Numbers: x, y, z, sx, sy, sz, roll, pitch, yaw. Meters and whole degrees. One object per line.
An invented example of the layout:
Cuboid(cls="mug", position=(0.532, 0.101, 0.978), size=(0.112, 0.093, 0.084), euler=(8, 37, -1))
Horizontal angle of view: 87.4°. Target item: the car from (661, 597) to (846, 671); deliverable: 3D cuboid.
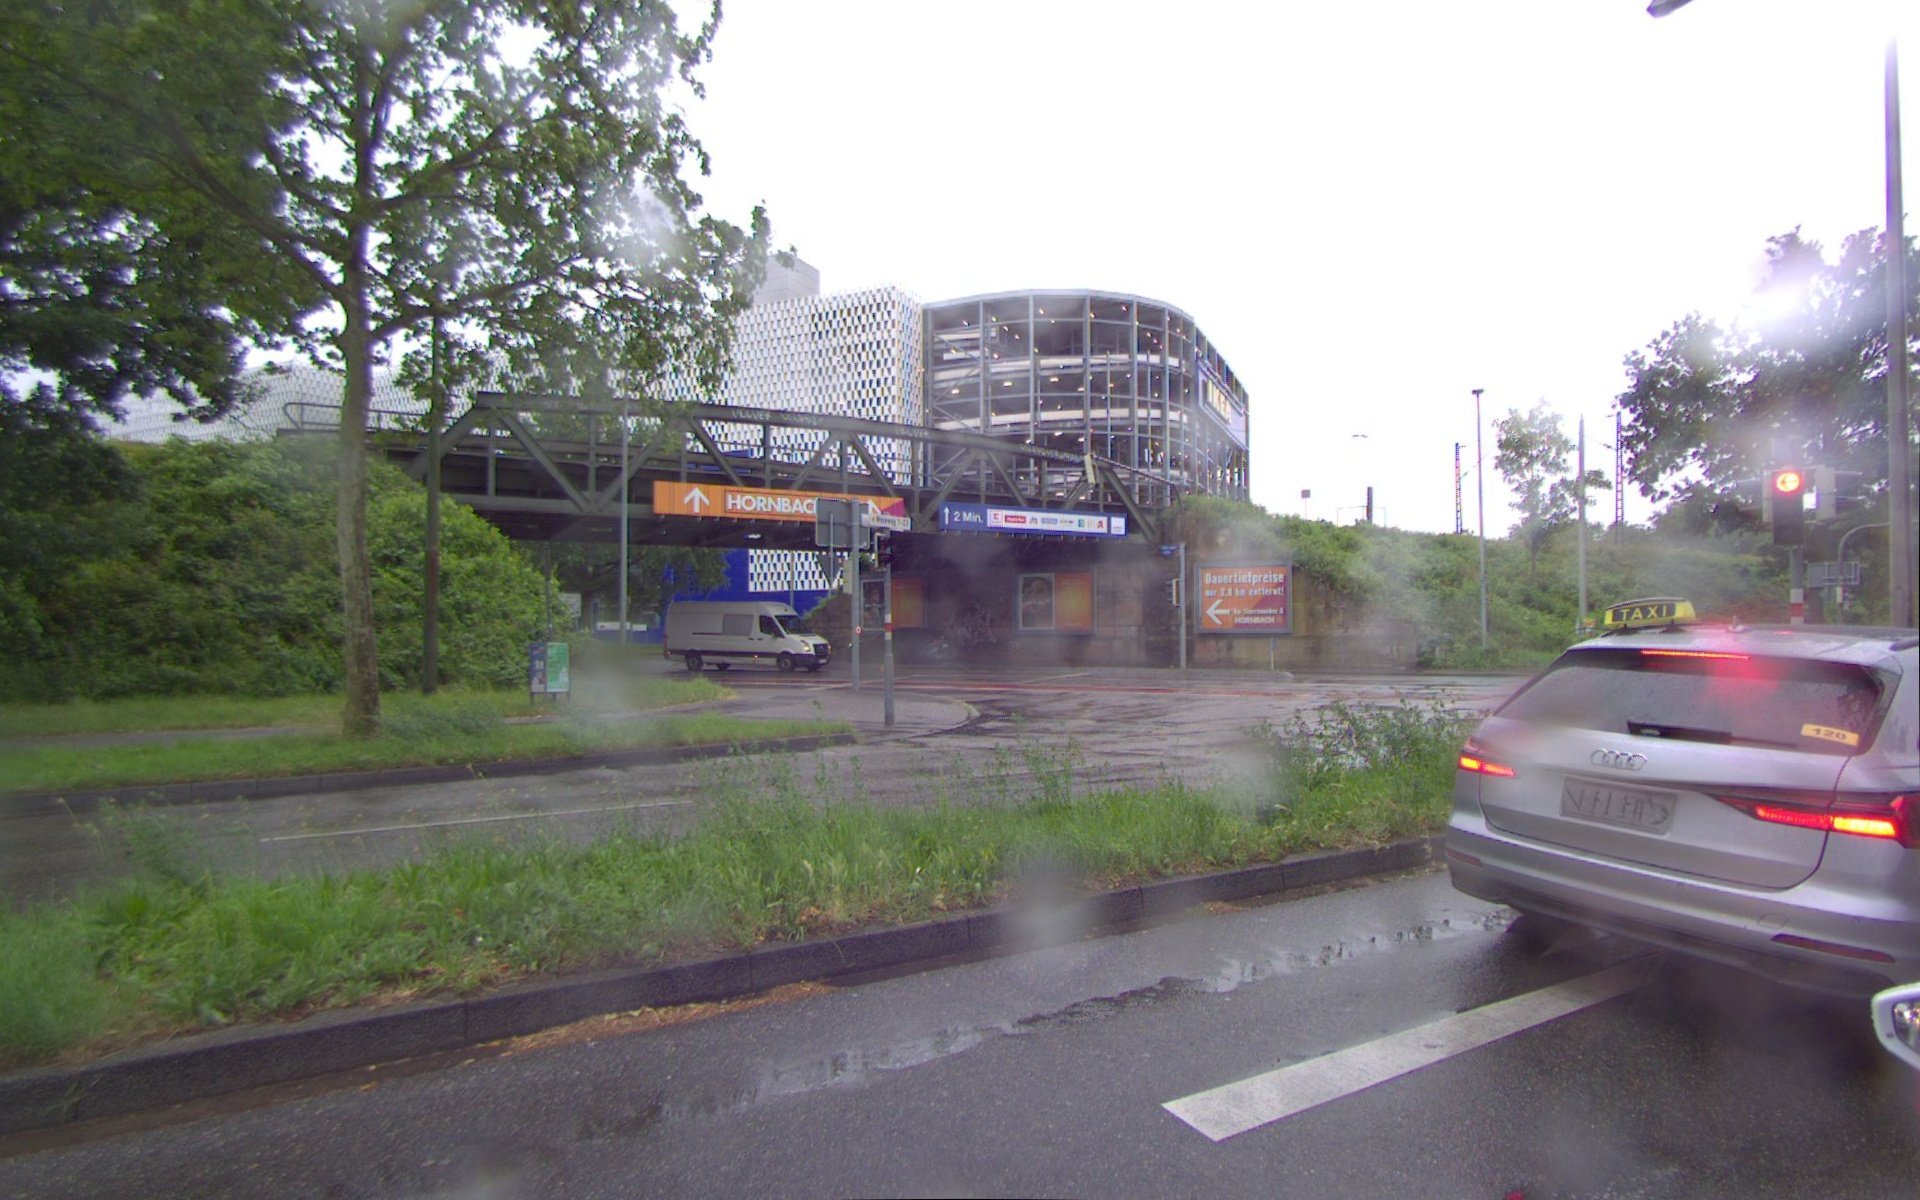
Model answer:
Cuboid(cls="car", position=(-7.934, 1.301, 38.412), size=(6.847, 2.645, 2.386), euler=(-1, -2, 25))

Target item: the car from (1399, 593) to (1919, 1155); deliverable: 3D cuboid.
Cuboid(cls="car", position=(4.381, 0.814, 4.805), size=(4.766, 1.595, 1.760), euler=(1, 0, -31))

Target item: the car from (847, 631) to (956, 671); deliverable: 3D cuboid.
Cuboid(cls="car", position=(-2.403, 2.080, 41.449), size=(4.166, 1.580, 1.746), euler=(-1, -2, 24))

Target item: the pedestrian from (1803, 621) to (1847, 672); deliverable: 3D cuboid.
Cuboid(cls="pedestrian", position=(32.373, 1.736, 37.600), size=(1.122, 1.871, 1.092), euler=(2, -2, -41))
